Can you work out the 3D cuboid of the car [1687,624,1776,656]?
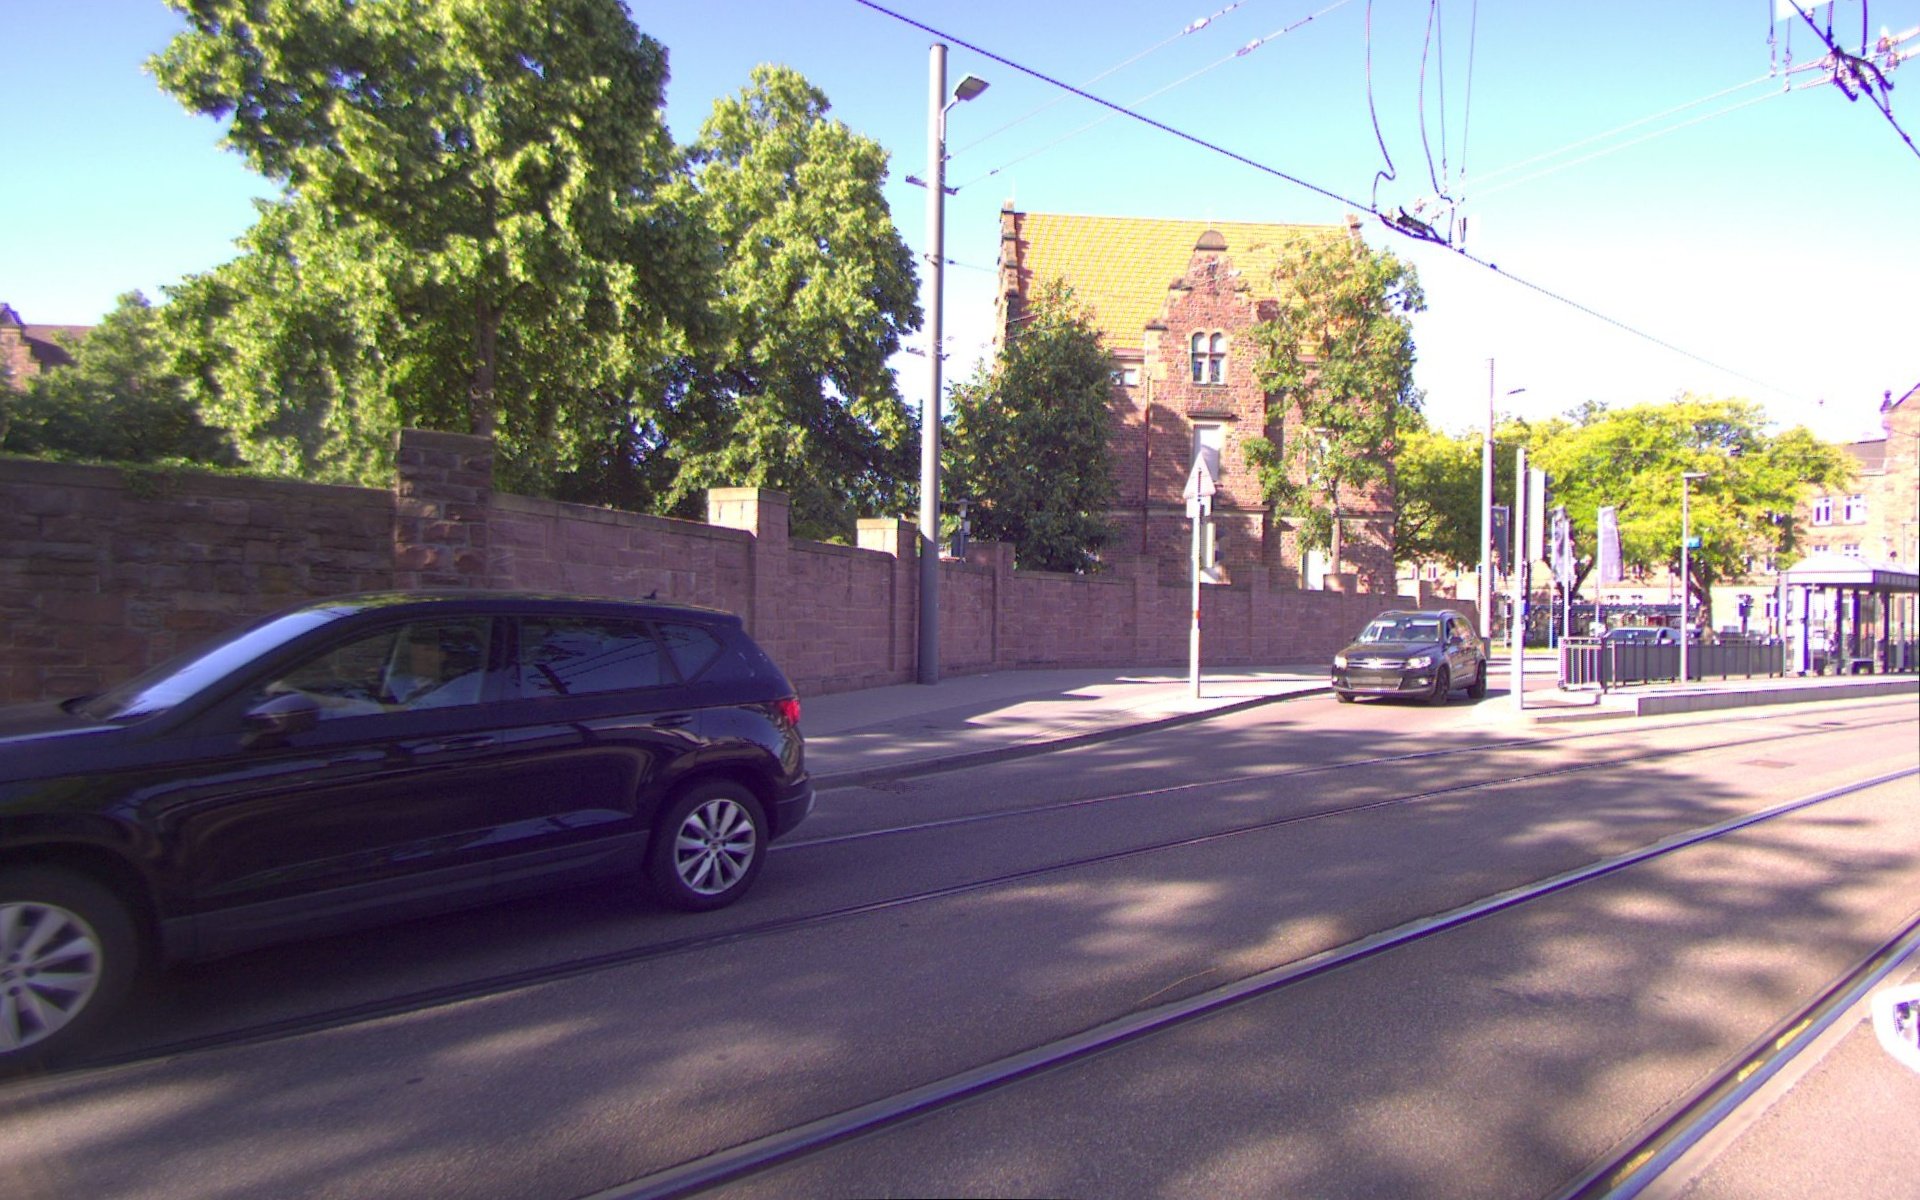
[{"bbox_3d":[45.654,2.359,59.504,1.730,1.682,3.839,2,0,-30],"label":"car"}]

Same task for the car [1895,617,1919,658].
[{"bbox_3d":[40.961,1.614,41.851,3.939,1.420,1.847,7,-10,-30],"label":"car"}]

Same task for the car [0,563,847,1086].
[{"bbox_3d":[-2.724,0.725,4.821,1.901,1.638,4.093,0,-1,44],"label":"car"}]

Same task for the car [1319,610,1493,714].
[{"bbox_3d":[8.197,1.052,18.263,1.775,1.659,4.098,-1,-2,41],"label":"car"}]

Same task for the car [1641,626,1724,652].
[{"bbox_3d":[47.656,2.541,66.334,1.855,1.542,4.045,2,0,-30],"label":"car"}]

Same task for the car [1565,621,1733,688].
[{"bbox_3d":[18.288,1.382,26.602,4.568,1.434,1.875,-2,1,-30],"label":"car"}]
